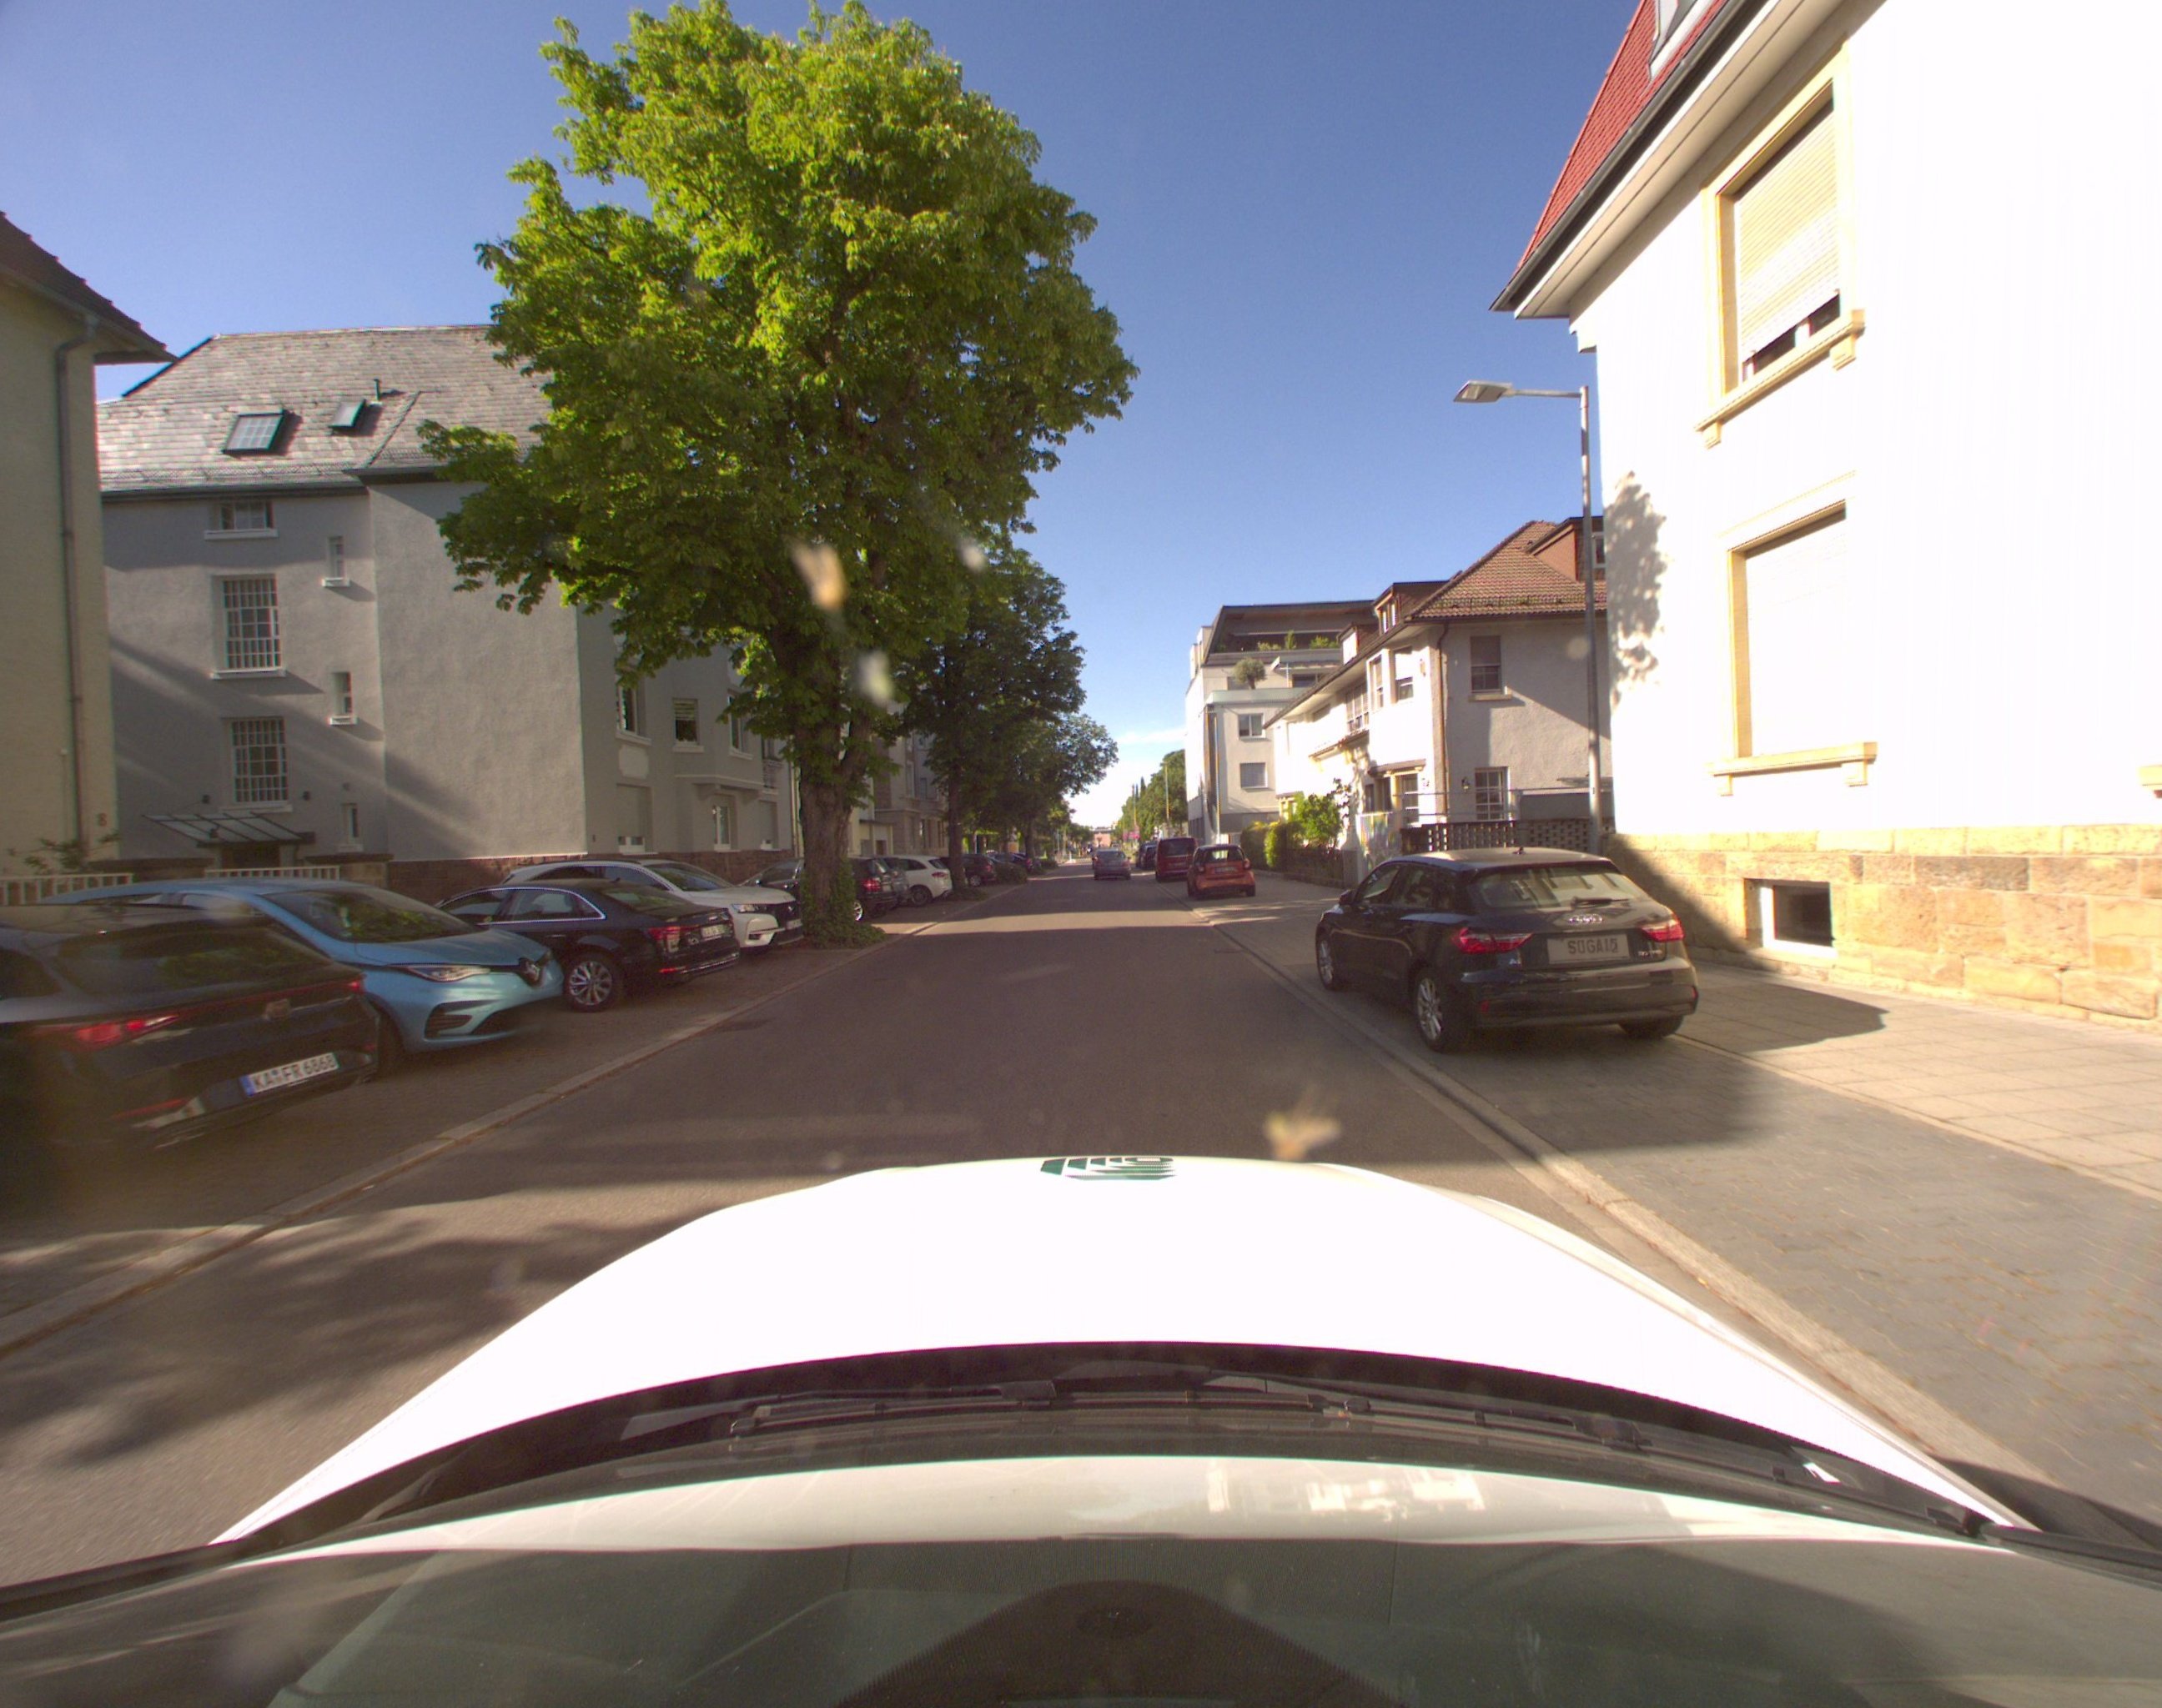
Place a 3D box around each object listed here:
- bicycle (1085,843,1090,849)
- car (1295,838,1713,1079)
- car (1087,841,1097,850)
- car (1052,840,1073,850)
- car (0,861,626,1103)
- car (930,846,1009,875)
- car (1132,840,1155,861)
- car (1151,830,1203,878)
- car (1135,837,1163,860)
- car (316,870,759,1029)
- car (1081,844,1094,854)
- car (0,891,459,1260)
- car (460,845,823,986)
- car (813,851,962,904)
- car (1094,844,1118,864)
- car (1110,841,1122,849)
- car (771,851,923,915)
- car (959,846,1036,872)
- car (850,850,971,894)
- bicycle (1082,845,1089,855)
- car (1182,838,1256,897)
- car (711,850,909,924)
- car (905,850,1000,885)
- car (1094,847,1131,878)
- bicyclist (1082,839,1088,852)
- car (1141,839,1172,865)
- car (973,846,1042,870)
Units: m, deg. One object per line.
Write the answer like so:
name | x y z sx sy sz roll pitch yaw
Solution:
bicycle | 1.005 -1.229 125.216 0.586 0.931 1.852 -3 1 3
car | 3.289 0.646 7.288 1.614 1.439 3.935 -5 1 0
car | 2.248 -1.800 169.249 1.783 1.532 3.996 -5 -1 -2
car | -3.188 -1.532 140.359 3.488 1.533 1.642 -4 1 -5
car | -6.510 0.976 7.057 3.974 1.592 1.878 -3 1 -1
car | -5.986 0.361 44.271 4.167 1.500 1.996 -1 0 -6
car | 4.858 -0.280 63.295 1.558 1.410 3.732 -6 -1 3
car | 4.196 -0.019 36.444 1.864 1.905 5.201 -4 0 3
car | 4.901 -0.386 58.847 1.676 1.435 4.267 -6 -1 2
car | -6.155 1.040 9.562 3.973 1.468 1.697 -3 1 1
car | 1.153 -0.951 145.600 1.868 1.727 3.996 -3 1 -3
car | -6.311 1.109 4.529 4.173 1.498 1.861 -3 1 0
car | -6.437 0.860 12.291 4.369 1.652 1.825 -4 2 2
car | -5.767 0.675 24.606 4.008 1.484 1.807 -1 1 1
car | 1.799 0.006 58.981 1.701 1.448 4.203 -1 0 1
car | 6.292 -1.665 148.001 1.718 1.330 3.996 -3 1 -3
car | -6.291 0.755 22.129 3.499 1.575 1.773 -1 1 4
car | -5.048 0.312 49.774 4.460 1.479 1.868 -1 0 -1
car | -5.873 0.609 28.501 4.021 1.444 1.794 -1 0 -9
bicycle | 0.553 -0.512 102.178 0.716 1.079 1.892 -3 1 2
car | 3.950 0.349 23.733 1.586 1.480 3.248 -5 1 1
car | -6.368 0.749 19.458 3.969 1.575 1.983 -1 1 4
car | -5.779 0.597 37.063 3.973 1.421 1.771 -1 2 0
car | 1.579 0.392 40.216 1.719 1.420 3.963 -1 0 3
bicyclist | 0.522 -1.033 102.146 0.718 1.536 1.137 -3 1 2
car | 4.871 -0.175 53.019 1.730 1.531 4.180 -3 1 2
car | -4.940 0.254 55.228 4.460 1.479 1.868 -1 0 -1
